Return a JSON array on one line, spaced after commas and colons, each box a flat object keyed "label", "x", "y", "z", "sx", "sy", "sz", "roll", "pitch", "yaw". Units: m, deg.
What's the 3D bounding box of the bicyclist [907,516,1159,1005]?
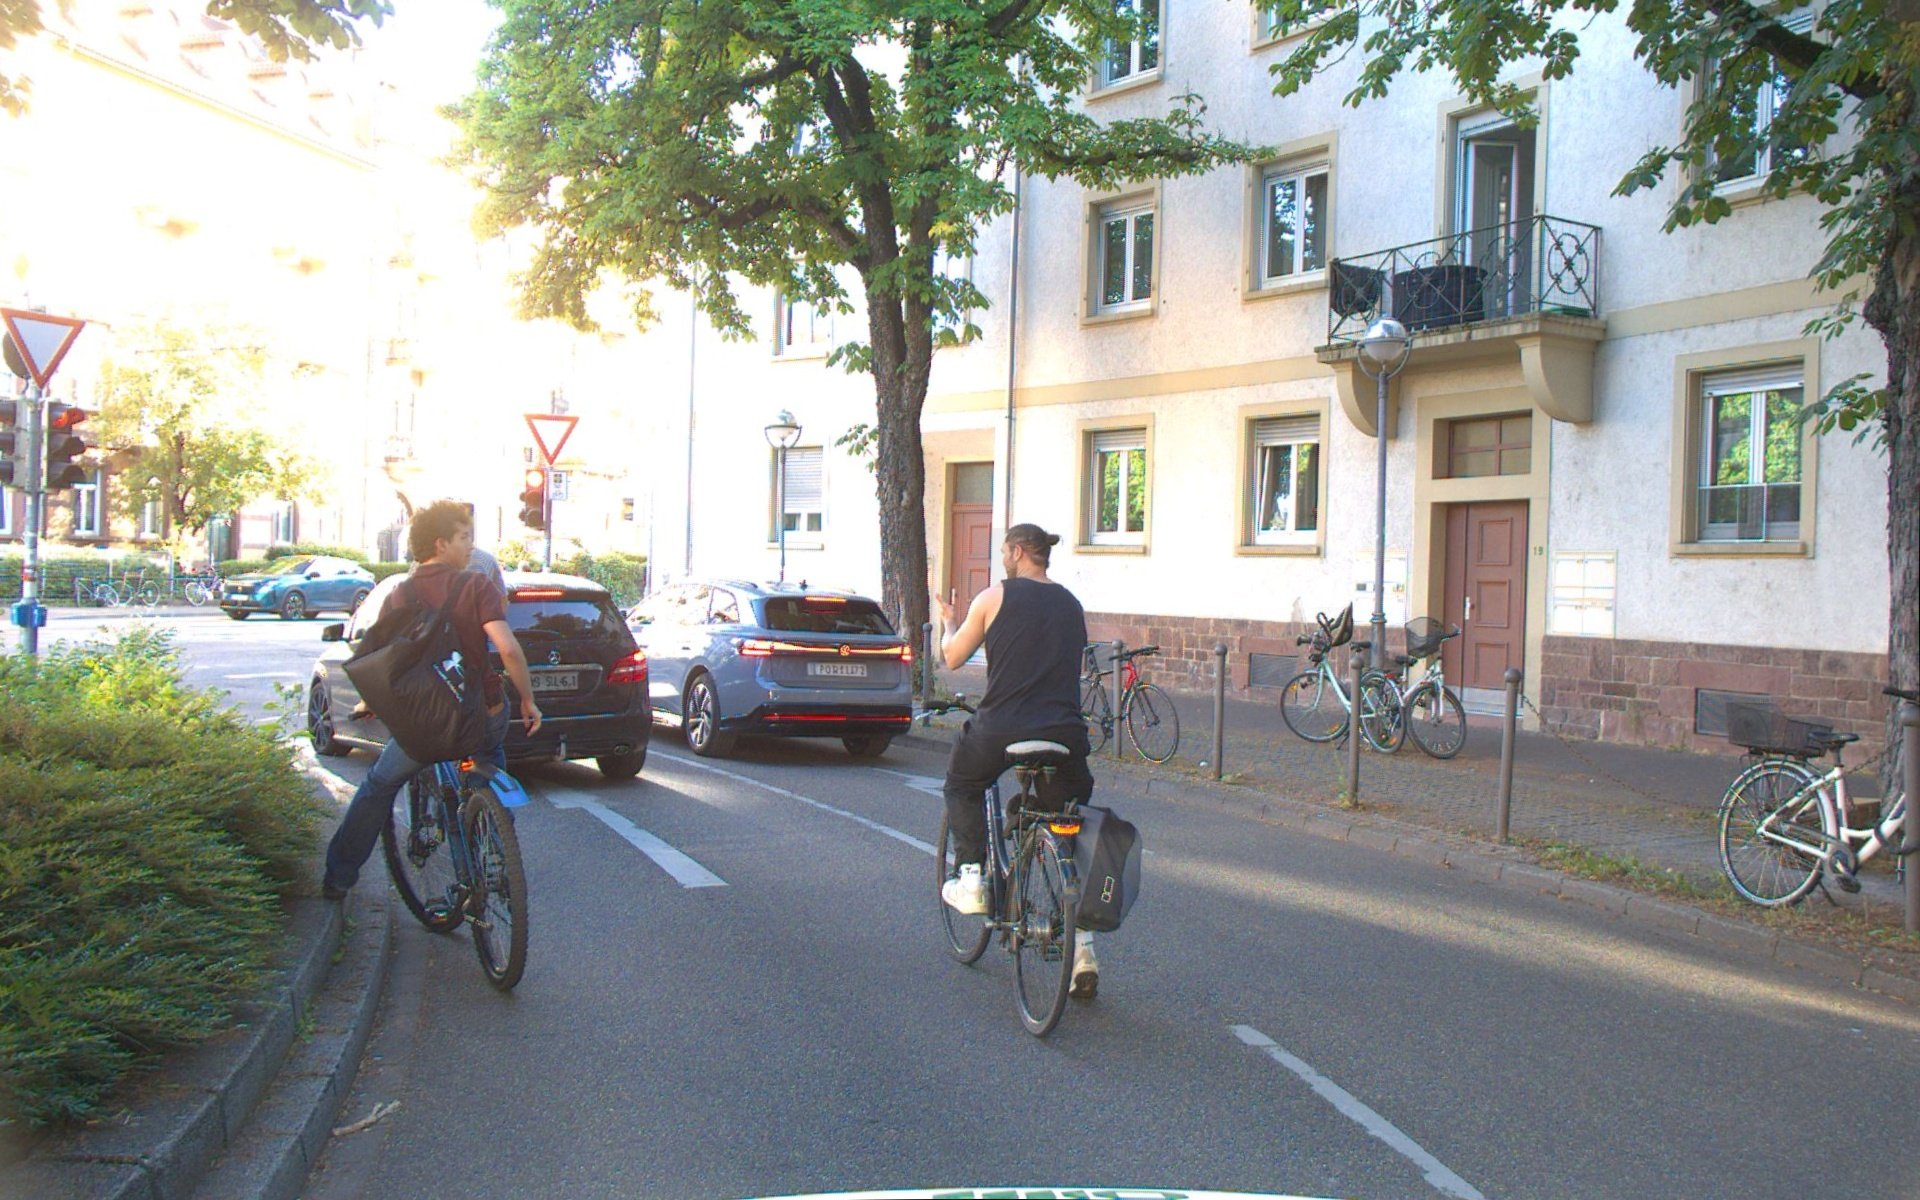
[{"label": "bicyclist", "x": 0.247, "y": 0.545, "z": 6.262, "sx": 0.675, "sy": 1.685, "sz": 0.985, "roll": 0, "pitch": 1, "yaw": -15}]

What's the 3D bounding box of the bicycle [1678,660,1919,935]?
[{"label": "bicycle", "x": 4.259, "y": 0.889, "z": 7.659, "sx": 0.505, "sy": 1.114, "sz": 1.962, "roll": 0, "pitch": 1, "yaw": -20}]

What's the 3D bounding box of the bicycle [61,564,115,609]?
[{"label": "bicycle", "x": -22.891, "y": -0.353, "z": 43.445, "sx": 0.433, "sy": 1.126, "sz": 1.233, "roll": 3, "pitch": 0, "yaw": 22}]

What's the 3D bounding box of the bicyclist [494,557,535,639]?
[{"label": "bicyclist", "x": -8.991, "y": -0.043, "z": 33.374, "sx": 0.517, "sy": 1.626, "sz": 0.675, "roll": 2, "pitch": 0, "yaw": 10}]

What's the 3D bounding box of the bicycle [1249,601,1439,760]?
[{"label": "bicycle", "x": 3.423, "y": 0.676, "z": 14.932, "sx": 0.707, "sy": 1.299, "sz": 1.955, "roll": 0, "pitch": 1, "yaw": -21}]

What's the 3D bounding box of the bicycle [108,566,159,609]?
[{"label": "bicycle", "x": -22.358, "y": -0.323, "z": 44.739, "sx": 0.433, "sy": 1.126, "sz": 1.233, "roll": 3, "pitch": 1, "yaw": 22}]

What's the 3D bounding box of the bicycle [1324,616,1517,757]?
[{"label": "bicycle", "x": 4.120, "y": 0.747, "z": 14.959, "sx": 0.657, "sy": 1.126, "sz": 1.956, "roll": 2, "pitch": 0, "yaw": -19}]

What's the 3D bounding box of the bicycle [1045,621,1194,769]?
[{"label": "bicycle", "x": 1.365, "y": 0.790, "z": 14.455, "sx": 0.519, "sy": 1.126, "sz": 1.728, "roll": -1, "pitch": 2, "yaw": -24}]

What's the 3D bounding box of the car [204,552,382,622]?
[{"label": "car", "x": -17.209, "y": -0.320, "z": 42.932, "sx": 1.901, "sy": 1.678, "sz": 4.413, "roll": 2, "pitch": 0, "yaw": 17}]

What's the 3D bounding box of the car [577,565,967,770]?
[{"label": "car", "x": -1.948, "y": 0.558, "z": 15.757, "sx": 1.951, "sy": 1.613, "sz": 4.427, "roll": 4, "pitch": -1, "yaw": -32}]

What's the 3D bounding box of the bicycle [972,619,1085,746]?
[{"label": "bicycle", "x": 0.642, "y": 0.766, "z": 16.005, "sx": 0.474, "sy": 1.082, "sz": 1.625, "roll": -1, "pitch": 2, "yaw": -22}]

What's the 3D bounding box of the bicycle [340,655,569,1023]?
[{"label": "bicycle", "x": -1.976, "y": 0.835, "z": 6.539, "sx": 0.705, "sy": 1.126, "sz": 1.958, "roll": 2, "pitch": 0, "yaw": -16}]

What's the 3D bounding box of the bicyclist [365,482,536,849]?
[{"label": "bicyclist", "x": -2.895, "y": 0.348, "z": 9.354, "sx": 0.783, "sy": 1.946, "sz": 0.938, "roll": 2, "pitch": 0, "yaw": -23}]

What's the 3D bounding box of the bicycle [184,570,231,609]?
[{"label": "bicycle", "x": -21.457, "y": -0.295, "z": 47.186, "sx": 0.433, "sy": 1.056, "sz": 1.233, "roll": 3, "pitch": 1, "yaw": 21}]

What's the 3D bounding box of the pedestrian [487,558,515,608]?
[{"label": "pedestrian", "x": -16.160, "y": -0.603, "z": 58.225, "sx": 0.649, "sy": 1.745, "sz": 0.635, "roll": 2, "pitch": 0, "yaw": 29}]

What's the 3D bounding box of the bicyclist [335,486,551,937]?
[{"label": "bicyclist", "x": -2.005, "y": 0.397, "z": 6.424, "sx": 0.696, "sy": 1.601, "sz": 0.952, "roll": 2, "pitch": 0, "yaw": -18}]

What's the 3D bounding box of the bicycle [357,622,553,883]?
[{"label": "bicycle", "x": -2.884, "y": 0.773, "z": 9.286, "sx": 0.799, "sy": 1.205, "sz": 2.211, "roll": 2, "pitch": 1, "yaw": -23}]

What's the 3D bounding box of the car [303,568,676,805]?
[{"label": "car", "x": -3.852, "y": 0.536, "z": 13.109, "sx": 1.774, "sy": 1.569, "sz": 3.814, "roll": -1, "pitch": 1, "yaw": -34}]

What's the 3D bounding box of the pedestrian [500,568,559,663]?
[{"label": "pedestrian", "x": -7.922, "y": 0.285, "z": 30.421, "sx": 0.889, "sy": 1.663, "sz": 0.721, "roll": 4, "pitch": 1, "yaw": -21}]

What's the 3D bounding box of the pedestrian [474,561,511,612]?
[{"label": "pedestrian", "x": -16.059, "y": -0.450, "z": 56.842, "sx": 0.698, "sy": 1.693, "sz": 0.895, "roll": 5, "pitch": 2, "yaw": 33}]

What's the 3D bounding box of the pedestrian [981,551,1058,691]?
[{"label": "pedestrian", "x": 0.764, "y": 0.250, "z": 21.375, "sx": 0.635, "sy": 1.757, "sz": 0.880, "roll": -1, "pitch": 2, "yaw": -28}]
